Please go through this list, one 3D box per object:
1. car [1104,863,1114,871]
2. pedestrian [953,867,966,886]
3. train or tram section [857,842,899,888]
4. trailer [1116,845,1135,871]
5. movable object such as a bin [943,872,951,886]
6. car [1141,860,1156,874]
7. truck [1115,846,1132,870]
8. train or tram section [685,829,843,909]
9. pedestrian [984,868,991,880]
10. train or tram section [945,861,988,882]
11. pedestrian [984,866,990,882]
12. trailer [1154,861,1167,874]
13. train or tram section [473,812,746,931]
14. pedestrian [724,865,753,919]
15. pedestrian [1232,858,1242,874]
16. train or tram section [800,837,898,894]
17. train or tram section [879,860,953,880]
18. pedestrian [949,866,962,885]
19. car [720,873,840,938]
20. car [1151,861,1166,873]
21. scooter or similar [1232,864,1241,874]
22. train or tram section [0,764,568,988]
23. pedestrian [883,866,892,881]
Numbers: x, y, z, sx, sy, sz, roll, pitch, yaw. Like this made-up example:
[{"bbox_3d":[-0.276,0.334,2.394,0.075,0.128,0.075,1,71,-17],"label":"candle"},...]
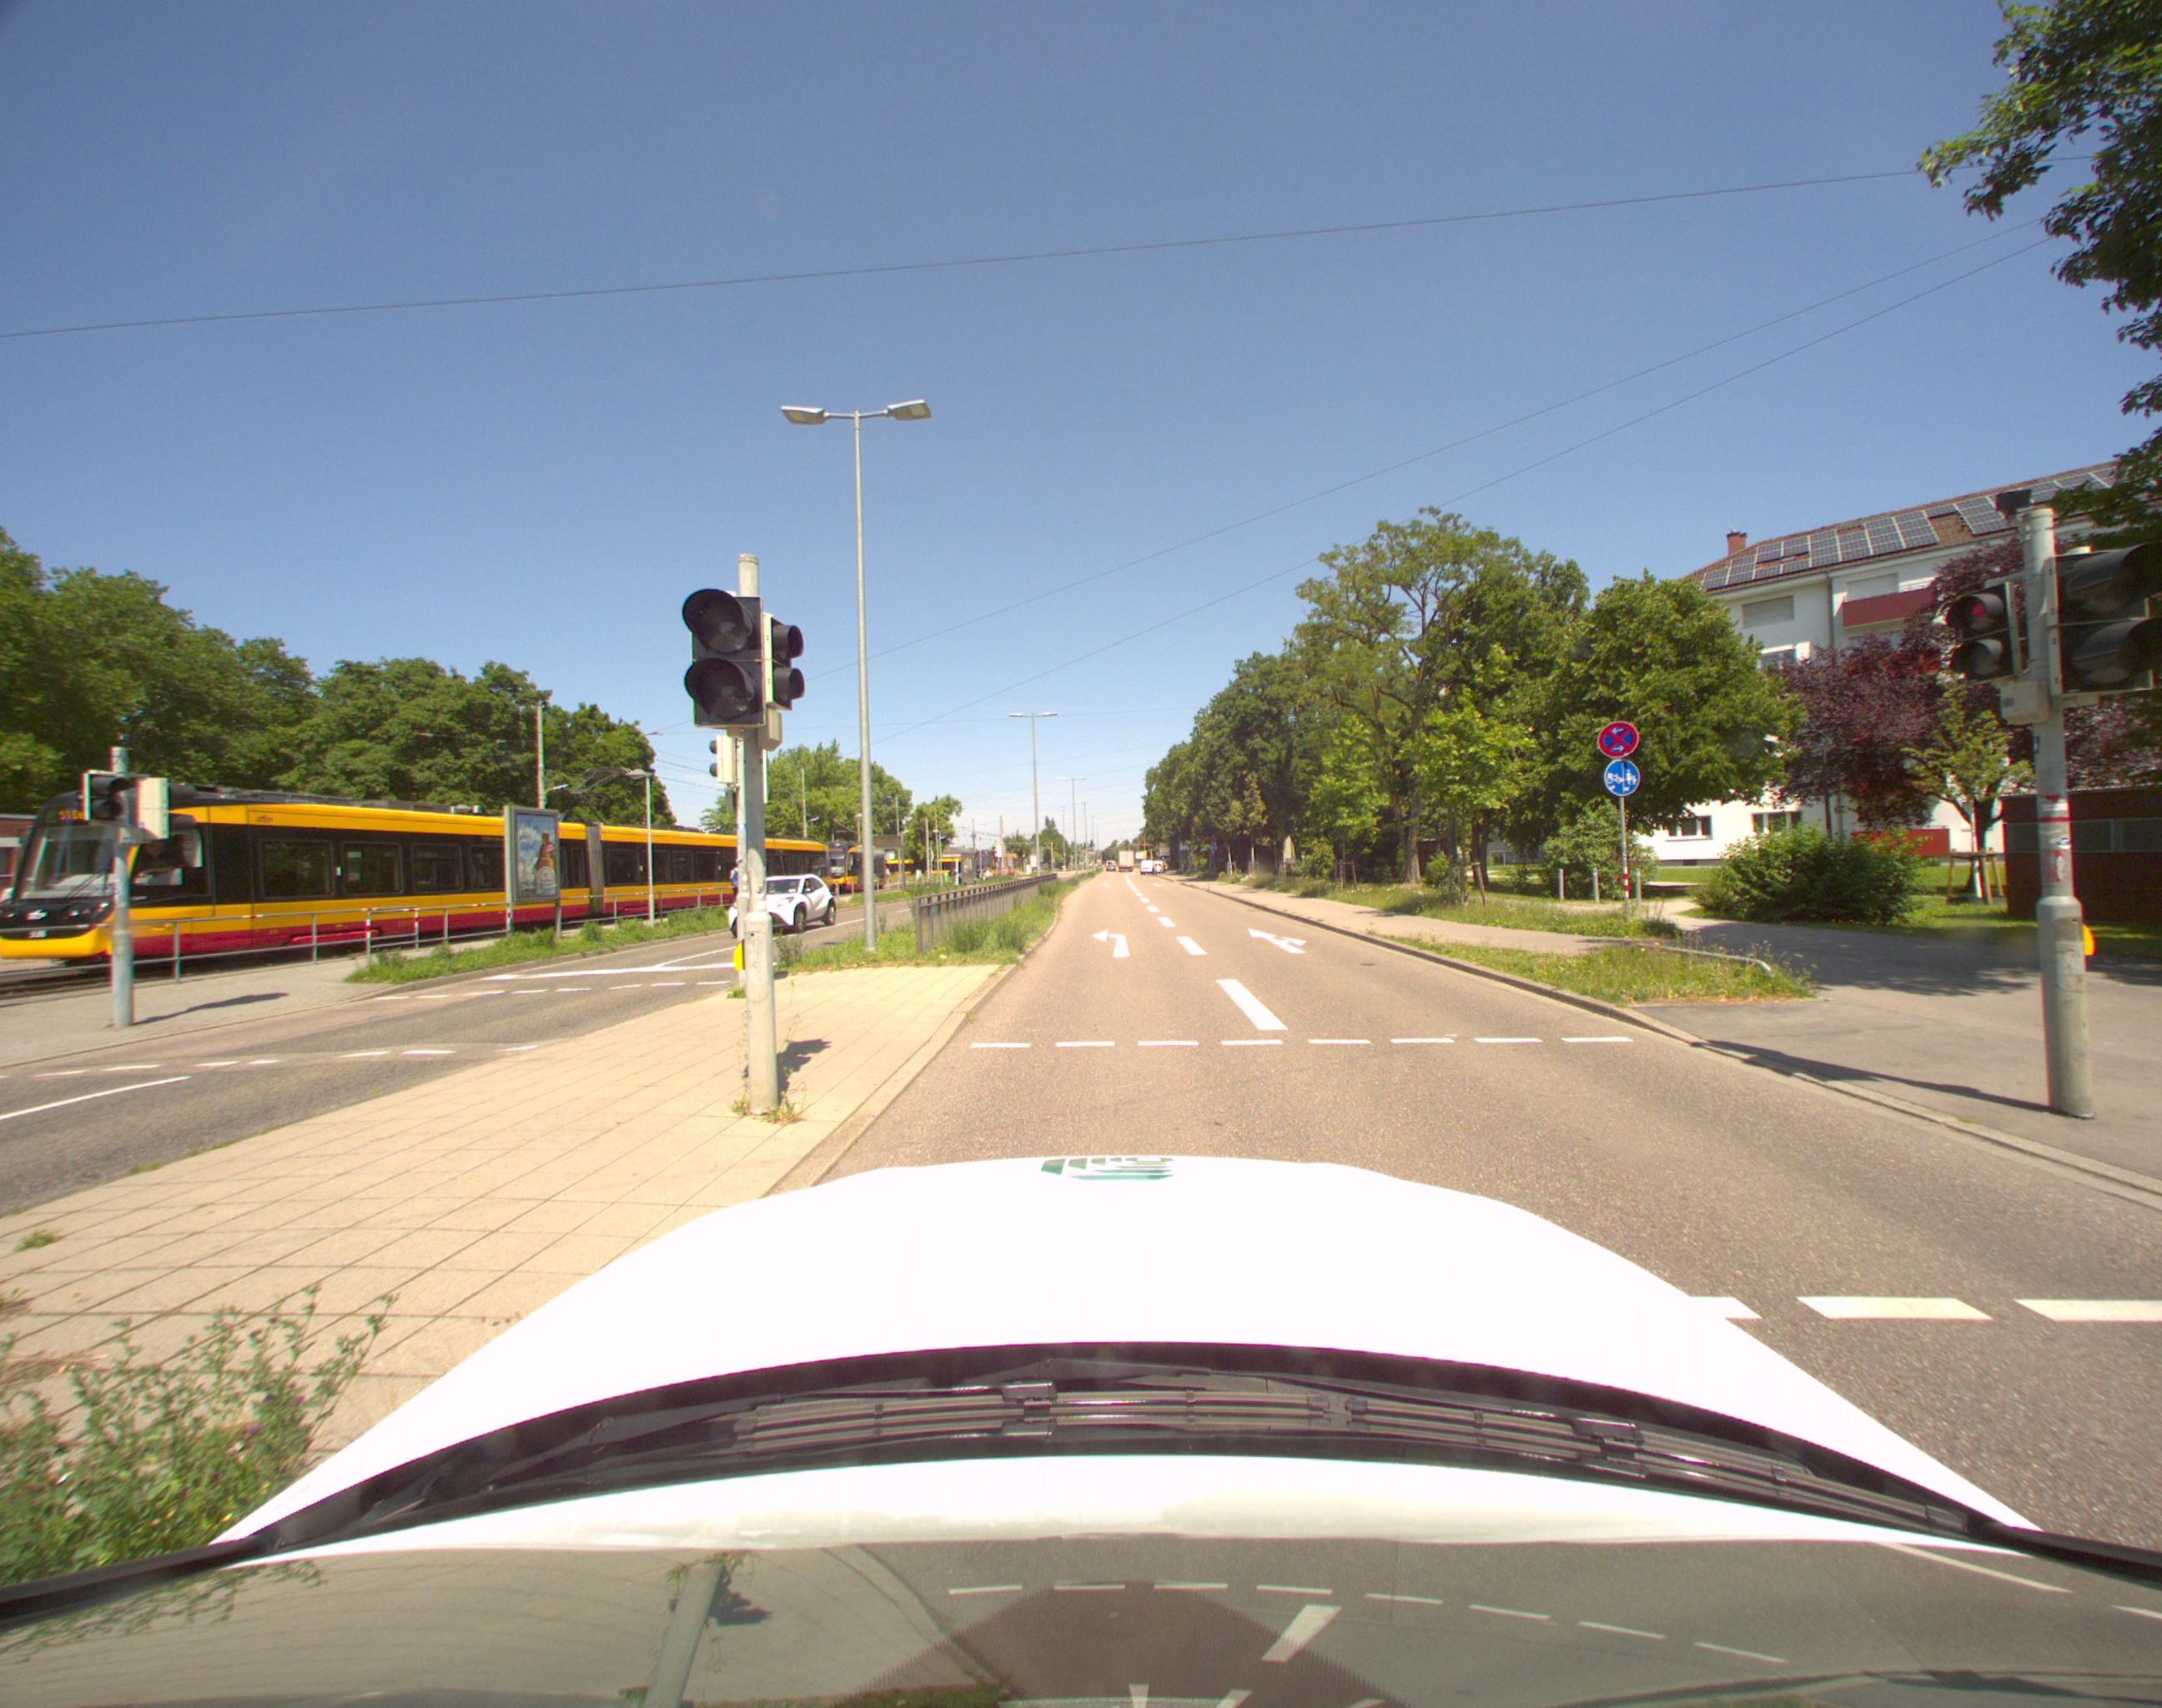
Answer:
[{"bbox_3d":[5.370,2.482,155.294,1.885,1.372,4.430,1,-2,2],"label":"car"},{"bbox_3d":[-9.790,1.802,65.455,0.871,1.546,1.026,0,-1,0],"label":"pedestrian"},{"bbox_3d":[-17.343,0.891,70.247,3.046,3.624,12.400,0,-1,-12],"label":"train or tram section"},{"bbox_3d":[7.829,0.729,144.244,2.817,4.422,8.749,0,-1,1],"label":"trailer"},{"bbox_3d":[-9.885,1.862,59.986,0.480,0.978,0.644,-2,-1,-2],"label":"movable object such as a bin"},{"bbox_3d":[8.531,1.590,102.526,1.701,1.747,4.435,0,-1,6],"label":"car"},{"bbox_3d":[7.917,0.763,152.833,2.817,4.344,8.285,0,0,1],"label":"truck"},{"bbox_3d":[-16.875,0.759,45.012,3.031,3.767,13.269,0,-1,3],"label":"train or tram section"},{"bbox_3d":[-9.325,1.963,81.228,0.579,1.189,0.536,0,-1,-2],"label":"pedestrian"},{"bbox_3d":[-20.024,2.998,141.041,3.055,3.466,12.630,0,-1,-29],"label":"train or tram section"},{"bbox_3d":[-9.497,2.047,82.614,0.533,1.565,0.582,0,-1,1],"label":"pedestrian"},{"bbox_3d":[10.572,1.746,108.797,1.464,1.669,2.856,0,-1,1],"label":"trailer"},{"bbox_3d":[-17.443,0.599,31.955,3.032,3.741,12.601,0,-1,2],"label":"train or tram section"},{"bbox_3d":[-11.481,1.268,27.317,0.630,1.791,0.776,0,-1,0],"label":"pedestrian"},{"bbox_3d":[13.561,1.049,70.849,0.705,1.398,0.763,0,-1,3],"label":"pedestrian"},{"bbox_3d":[-16.264,0.786,58.615,3.033,3.624,13.896,0,-1,0],"label":"train or tram section"},{"bbox_3d":[-30.129,2.962,148.634,13.121,3.466,3.059,-1,-1,16],"label":"train or tram section"},{"bbox_3d":[-10.271,1.755,66.690,0.927,1.546,0.985,0,-1,0],"label":"pedestrian"},{"bbox_3d":[-7.952,1.301,21.866,1.763,1.505,3.719,-2,-1,0],"label":"car"},{"bbox_3d":[10.627,1.763,112.420,1.693,1.654,4.399,0,-1,1],"label":"car"},{"bbox_3d":[13.600,1.305,71.346,0.705,0.893,0.763,0,-1,3],"label":"scooter or similar"},{"bbox_3d":[-17.790,0.433,19.821,2.939,3.855,11.545,0,-1,2],"label":"train or tram section"},{"bbox_3d":[-19.636,1.971,82.678,0.802,1.565,0.534,0,-1,-13],"label":"pedestrian"}]
